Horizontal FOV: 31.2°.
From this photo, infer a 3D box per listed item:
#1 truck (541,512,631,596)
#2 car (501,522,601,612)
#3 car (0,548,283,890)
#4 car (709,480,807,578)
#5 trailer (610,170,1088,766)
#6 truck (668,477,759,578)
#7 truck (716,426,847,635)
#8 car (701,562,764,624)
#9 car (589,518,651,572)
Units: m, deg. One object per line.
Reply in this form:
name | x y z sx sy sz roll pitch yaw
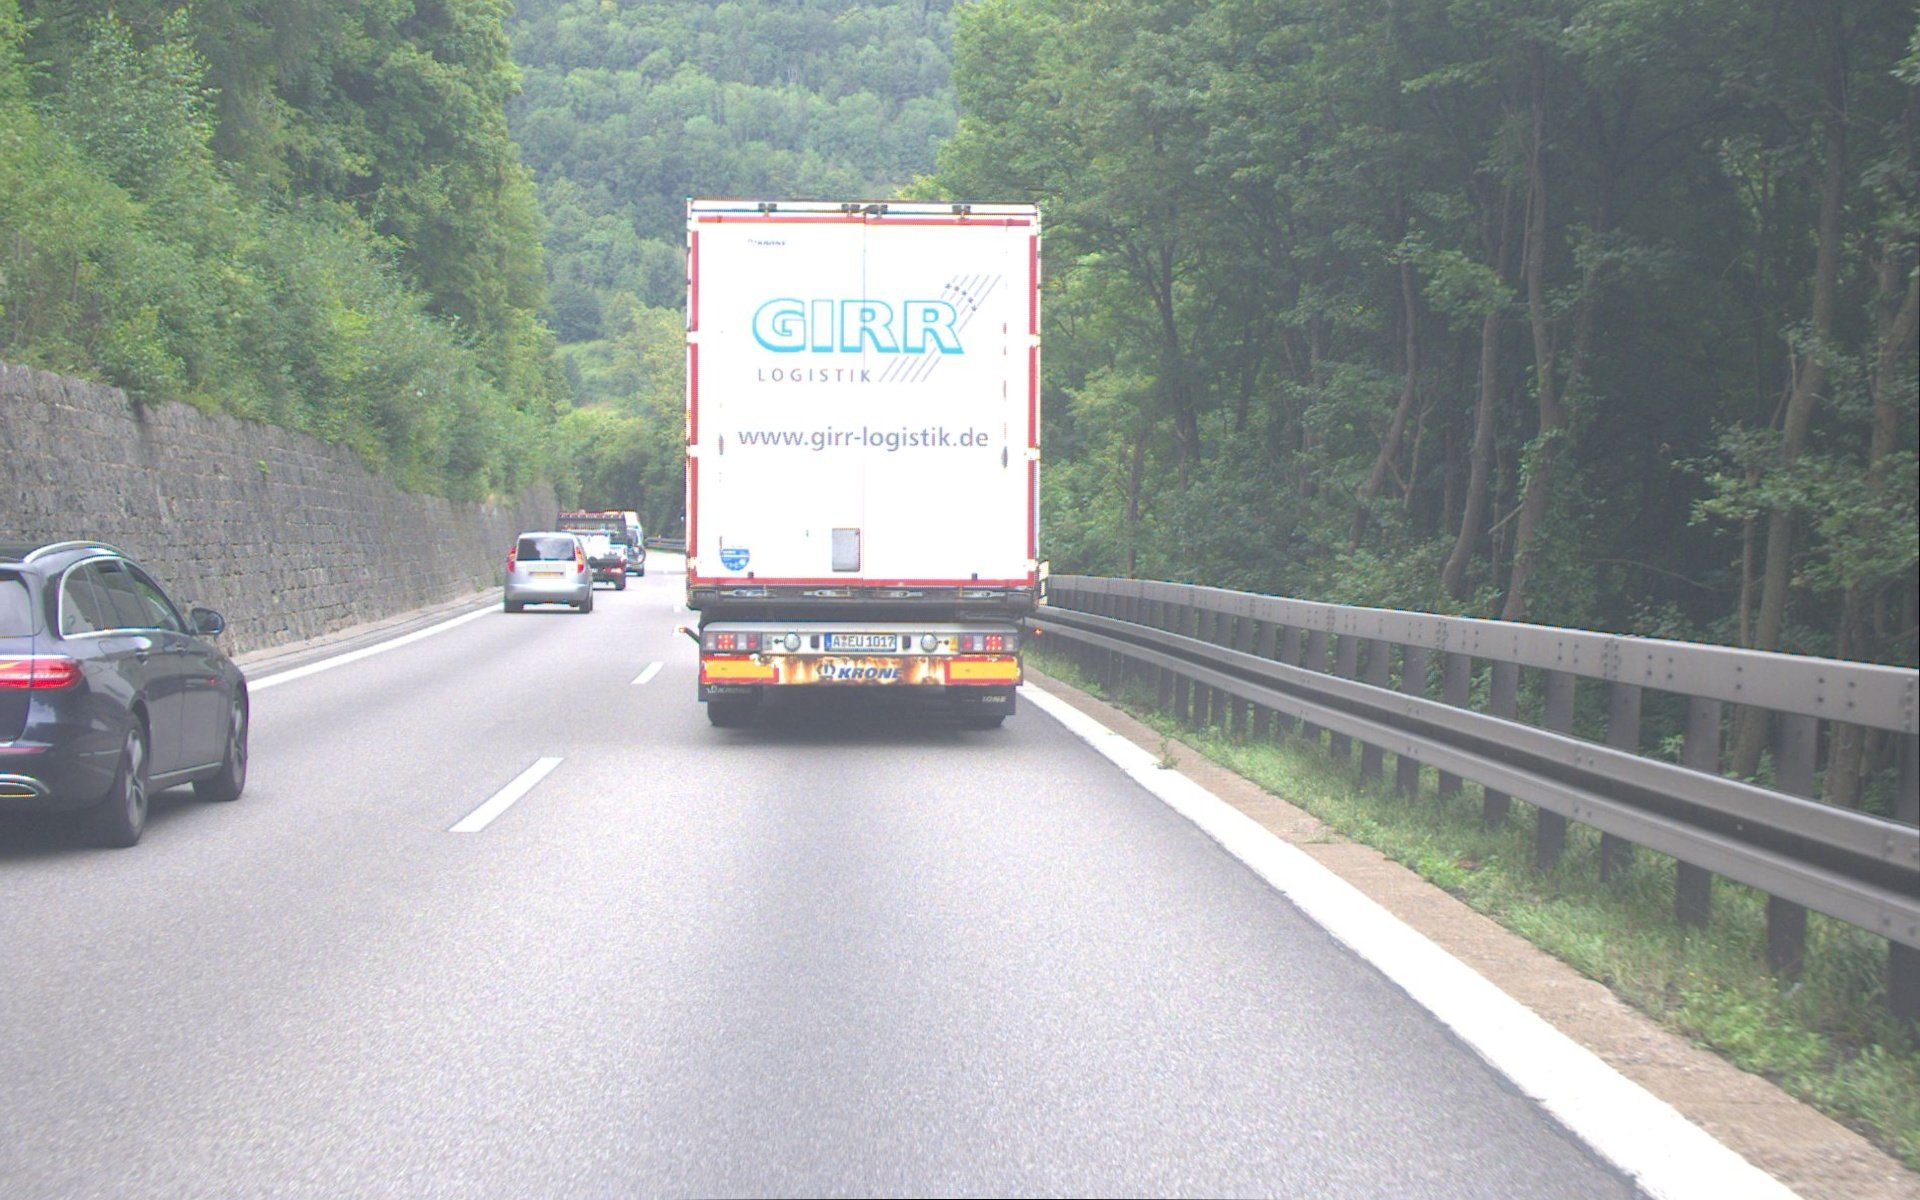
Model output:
truck | -10.933 -1.371 100.953 2.349 2.266 6.851 3 1 -5
car | -8.200 -0.670 69.272 1.634 1.720 4.345 2 1 -3
car | -4.845 0.492 17.848 1.760 1.458 5.123 1 1 -1
car | -4.418 -1.538 75.744 1.993 2.007 4.334 3 0 -3
trailer | -1.029 -1.039 29.208 3.132 4.029 9.441 4 1 -3
truck | -10.145 -2.950 140.740 3.068 3.864 8.460 3 0 -7
truck | -3.445 -1.329 67.444 2.233 3.791 6.823 3 0 -2
car | -7.750 -0.259 117.190 1.993 2.007 4.001 3 0 -4
car | -12.957 -2.100 131.275 2.018 1.907 5.564 3 1 -3
